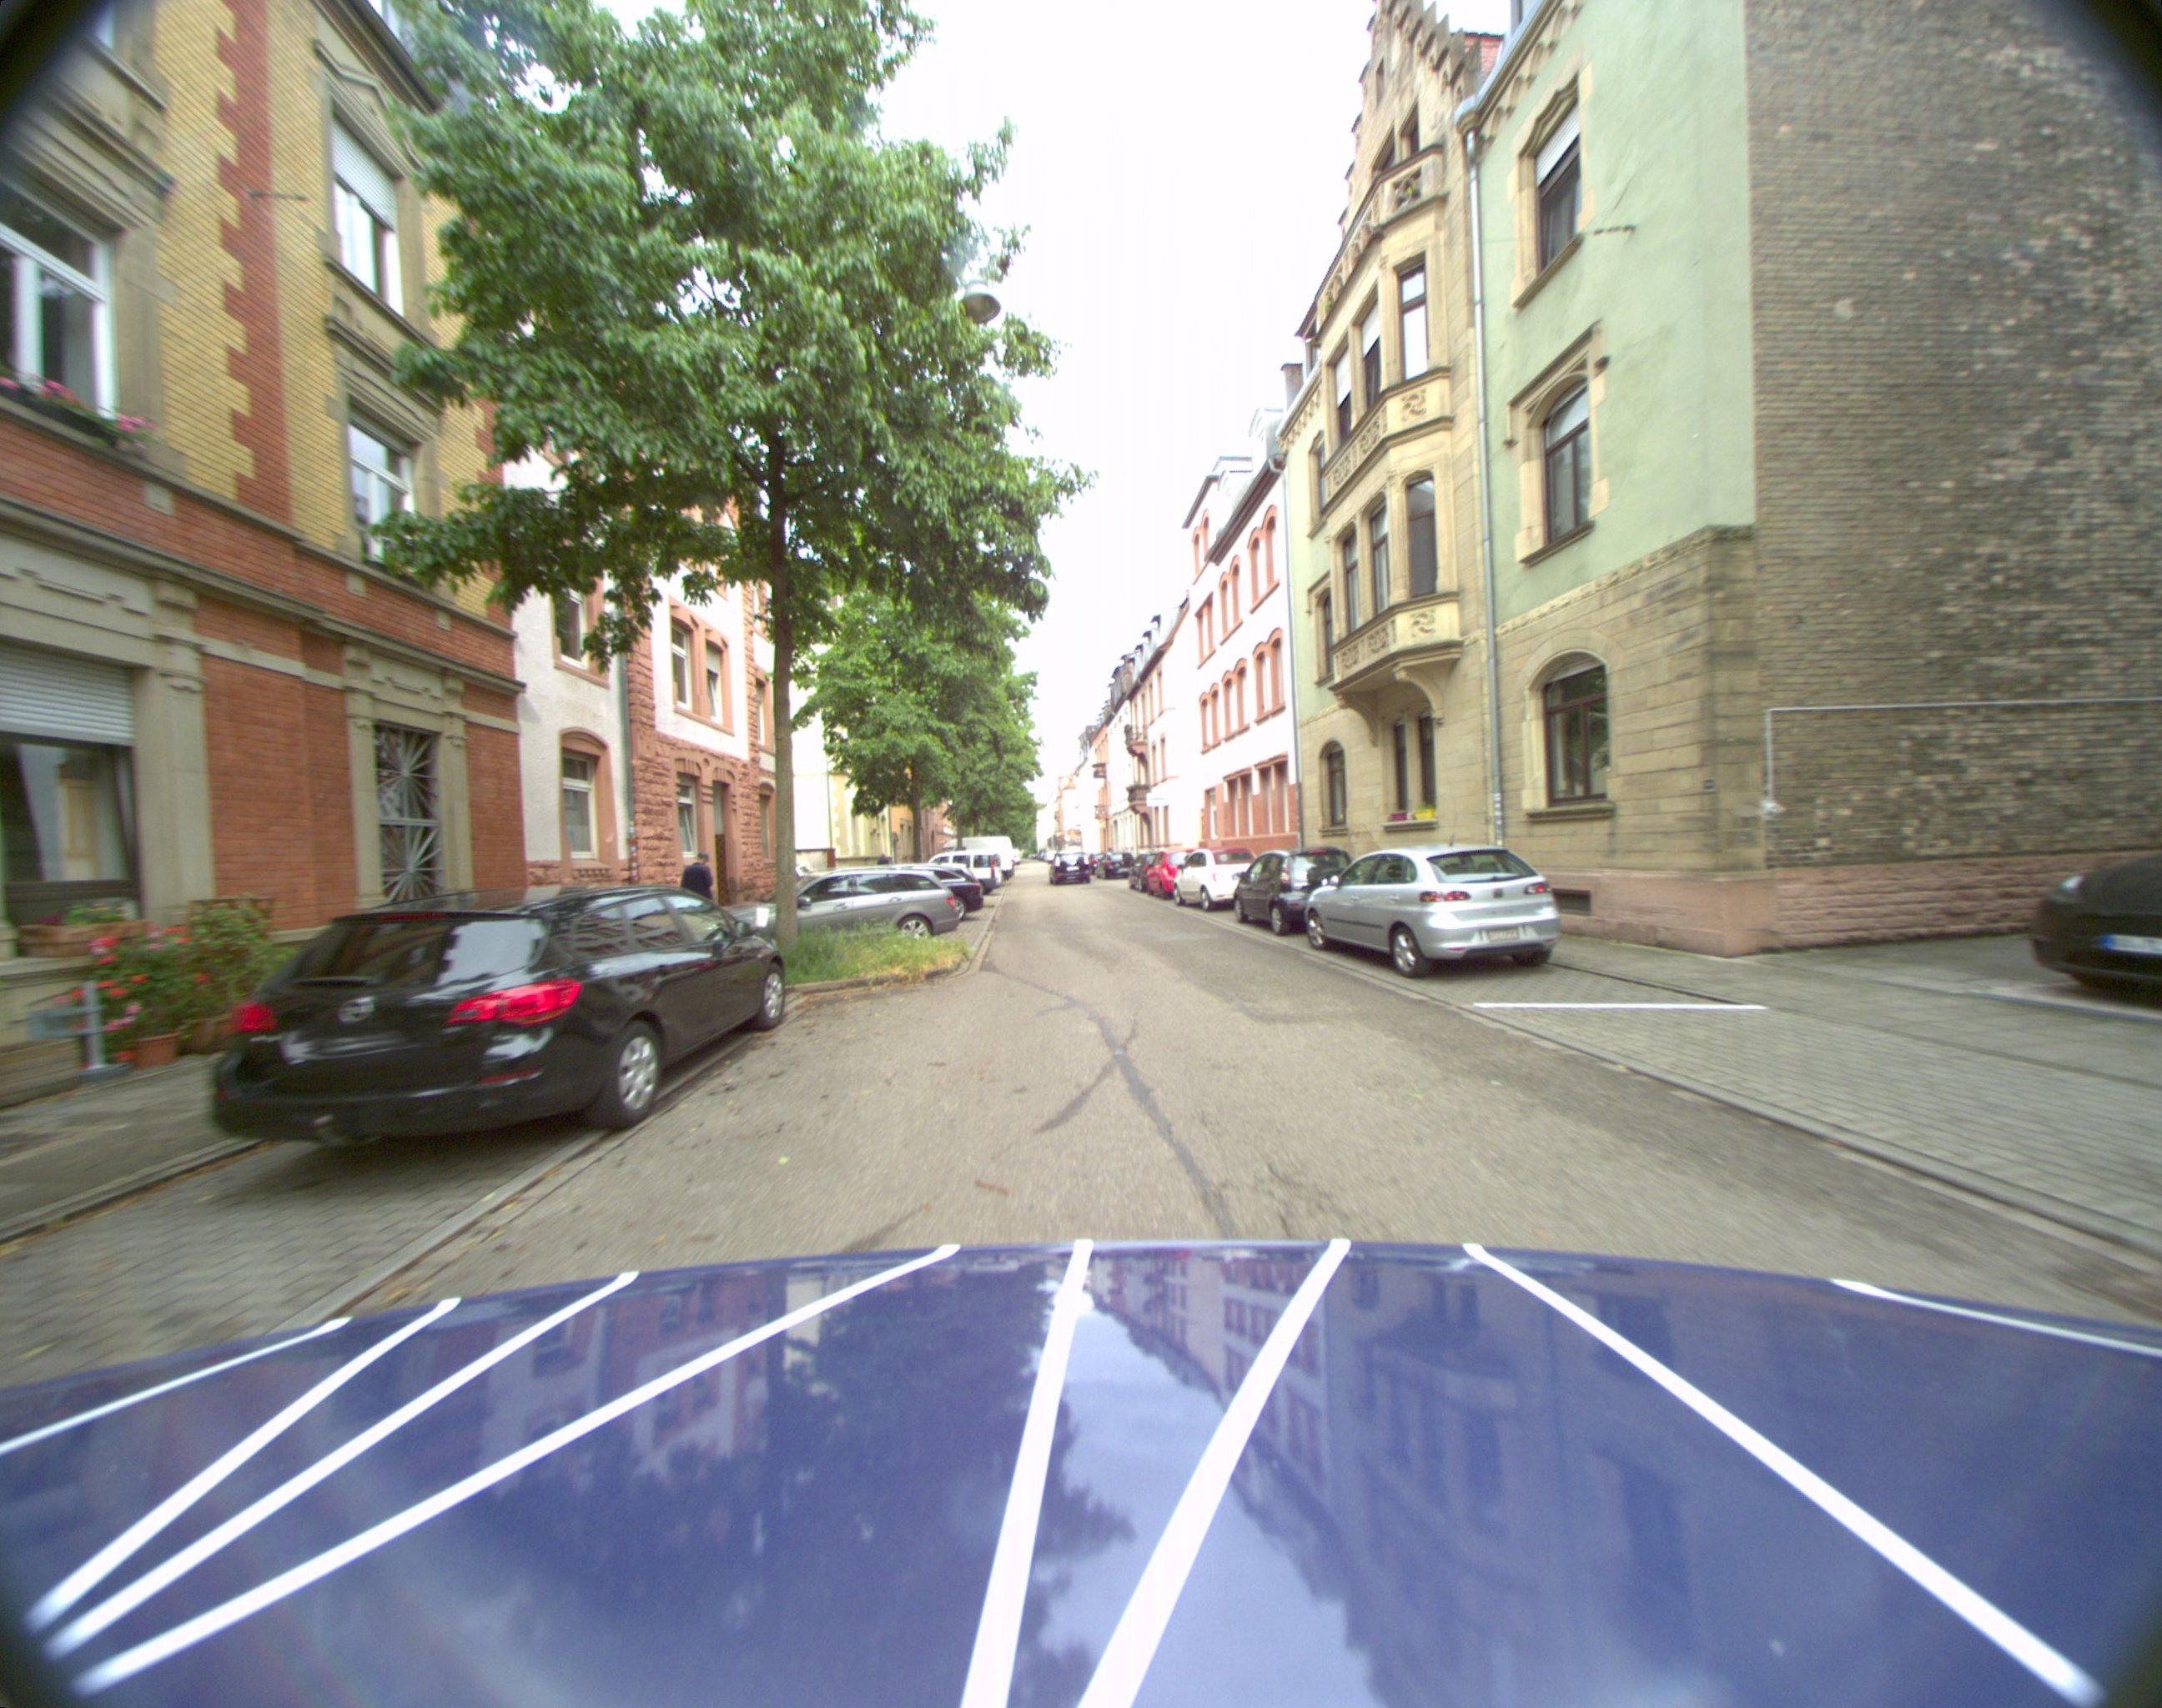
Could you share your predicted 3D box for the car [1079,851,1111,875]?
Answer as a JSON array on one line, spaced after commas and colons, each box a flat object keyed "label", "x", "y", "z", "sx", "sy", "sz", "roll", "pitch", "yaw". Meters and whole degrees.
[{"label": "car", "x": 0.870, "y": 0.543, "z": 48.859, "sx": 1.660, "sy": 1.375, "sz": 3.470, "roll": -4, "pitch": 1, "yaw": -4}]

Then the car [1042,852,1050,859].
[{"label": "car", "x": -7.654, "y": 0.384, "z": 165.776, "sx": 1.457, "sy": 1.401, "sz": 3.809, "roll": -4, "pitch": 0, "yaw": -3}]

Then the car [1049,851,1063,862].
[{"label": "car", "x": -3.857, "y": 0.356, "z": 116.298, "sx": 2.083, "sy": 1.446, "sz": 4.251, "roll": -4, "pitch": 0, "yaw": -3}]

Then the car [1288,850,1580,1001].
[{"label": "car", "x": 4.143, "y": 0.730, "z": 9.660, "sx": 1.594, "sy": 1.426, "sz": 3.808, "roll": -4, "pitch": 0, "yaw": -5}]

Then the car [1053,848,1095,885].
[{"label": "car", "x": -0.404, "y": 0.556, "z": 37.485, "sx": 1.814, "sy": 1.621, "sz": 4.206, "roll": -3, "pitch": 1, "yaw": -3}]

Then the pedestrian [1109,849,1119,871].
[{"label": "pedestrian", "x": 2.470, "y": 0.414, "z": 56.607, "sx": 0.578, "sy": 1.599, "sz": 0.544, "roll": -3, "pitch": 1, "yaw": -4}]

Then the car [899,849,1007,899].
[{"label": "car", "x": -5.232, "y": 0.808, "z": 31.325, "sx": 3.996, "sy": 1.801, "sz": 1.720, "roll": -3, "pitch": 1, "yaw": 3}]

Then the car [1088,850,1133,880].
[{"label": "car", "x": 1.496, "y": 0.547, "z": 40.032, "sx": 1.905, "sy": 1.382, "sz": 3.998, "roll": -3, "pitch": 0, "yaw": -4}]

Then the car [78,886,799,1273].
[{"label": "car", "x": -3.687, "y": 1.096, "z": 5.658, "sx": 1.769, "sy": 1.477, "sz": 4.477, "roll": -1, "pitch": 0, "yaw": -4}]

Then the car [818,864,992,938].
[{"label": "car", "x": -4.248, "y": 1.073, "z": 18.552, "sx": 3.700, "sy": 1.458, "sz": 1.701, "roll": -3, "pitch": 1, "yaw": -35}]

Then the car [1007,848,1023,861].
[{"label": "car", "x": -9.775, "y": 0.089, "z": 113.153, "sx": 1.999, "sy": 1.740, "sz": 3.999, "roll": -3, "pitch": 0, "yaw": -2}]

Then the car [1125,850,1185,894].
[{"label": "car", "x": 2.660, "y": 0.612, "z": 28.016, "sx": 1.469, "sy": 1.408, "sz": 3.916, "roll": -4, "pitch": 0, "yaw": -4}]

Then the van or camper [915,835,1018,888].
[{"label": "van or camper", "x": -6.260, "y": 0.372, "z": 41.646, "sx": 5.077, "sy": 2.576, "sz": 2.069, "roll": -3, "pitch": 1, "yaw": -34}]

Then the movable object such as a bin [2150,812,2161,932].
[{"label": "movable object such as a bin", "x": 12.342, "y": 0.195, "z": 8.383, "sx": 0.416, "sy": 1.339, "sz": 0.476, "roll": -3, "pitch": 1, "yaw": -4}]

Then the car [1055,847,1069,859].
[{"label": "car", "x": -2.390, "y": -0.110, "z": 94.247, "sx": 1.457, "sy": 1.401, "sz": 3.809, "roll": -4, "pitch": 0, "yaw": -3}]

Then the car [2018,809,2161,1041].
[{"label": "car", "x": 9.271, "y": 0.394, "z": 5.095, "sx": 3.998, "sy": 1.555, "sz": 1.767, "roll": -3, "pitch": 1, "yaw": -4}]

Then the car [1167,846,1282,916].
[{"label": "car", "x": 3.485, "y": 0.617, "z": 19.082, "sx": 1.671, "sy": 1.502, "sz": 3.551, "roll": -3, "pitch": 0, "yaw": -9}]

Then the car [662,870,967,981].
[{"label": "car", "x": -4.298, "y": 1.044, "z": 12.653, "sx": 4.453, "sy": 1.419, "sz": 1.754, "roll": -1, "pitch": 1, "yaw": -38}]

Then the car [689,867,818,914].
[{"label": "car", "x": -11.972, "y": 1.327, "z": 27.967, "sx": 3.998, "sy": 1.445, "sz": 1.608, "roll": -3, "pitch": 1, "yaw": -5}]

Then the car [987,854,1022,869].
[{"label": "car", "x": -8.753, "y": 0.872, "z": 86.518, "sx": 3.608, "sy": 1.458, "sz": 1.628, "roll": -3, "pitch": 1, "yaw": -18}]

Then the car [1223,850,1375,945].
[{"label": "car", "x": 3.838, "y": 0.698, "z": 13.977, "sx": 1.521, "sy": 1.426, "sz": 3.454, "roll": -4, "pitch": 0, "yaw": -4}]

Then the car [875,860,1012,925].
[{"label": "car", "x": -3.984, "y": 1.048, "z": 21.990, "sx": 3.473, "sy": 1.554, "sz": 1.783, "roll": -4, "pitch": 1, "yaw": -27}]

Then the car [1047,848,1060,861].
[{"label": "car", "x": -4.663, "y": 0.076, "z": 128.184, "sx": 2.053, "sy": 2.071, "sz": 3.809, "roll": -4, "pitch": 0, "yaw": -3}]

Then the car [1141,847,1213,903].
[{"label": "car", "x": 2.933, "y": 0.603, "z": 23.838, "sx": 1.469, "sy": 1.521, "sz": 3.567, "roll": -4, "pitch": 0, "yaw": -4}]

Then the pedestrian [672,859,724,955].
[{"label": "pedestrian", "x": -7.152, "y": 0.964, "z": 14.217, "sx": 0.599, "sy": 1.723, "sz": 0.663, "roll": -2, "pitch": 1, "yaw": -6}]

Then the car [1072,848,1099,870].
[{"label": "car", "x": 0.283, "y": 0.338, "z": 54.760, "sx": 1.611, "sy": 1.463, "sz": 3.341, "roll": -3, "pitch": 1, "yaw": -5}]

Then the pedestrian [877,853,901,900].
[{"label": "pedestrian", "x": -7.746, "y": 0.891, "z": 30.634, "sx": 0.703, "sy": 1.801, "sz": 0.816, "roll": -3, "pitch": 1, "yaw": -3}]

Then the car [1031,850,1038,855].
[{"label": "car", "x": -14.112, "y": -0.514, "z": 231.791, "sx": 1.458, "sy": 1.401, "sz": 3.806, "roll": -3, "pitch": 1, "yaw": -13}]

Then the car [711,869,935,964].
[{"label": "car", "x": -5.123, "y": 1.144, "z": 15.296, "sx": 3.890, "sy": 1.428, "sz": 1.741, "roll": -3, "pitch": 3, "yaw": -35}]

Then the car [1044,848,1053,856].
[{"label": "car", "x": -6.242, "y": -0.458, "z": 145.037, "sx": 1.457, "sy": 1.401, "sz": 3.809, "roll": -4, "pitch": 0, "yaw": -3}]
